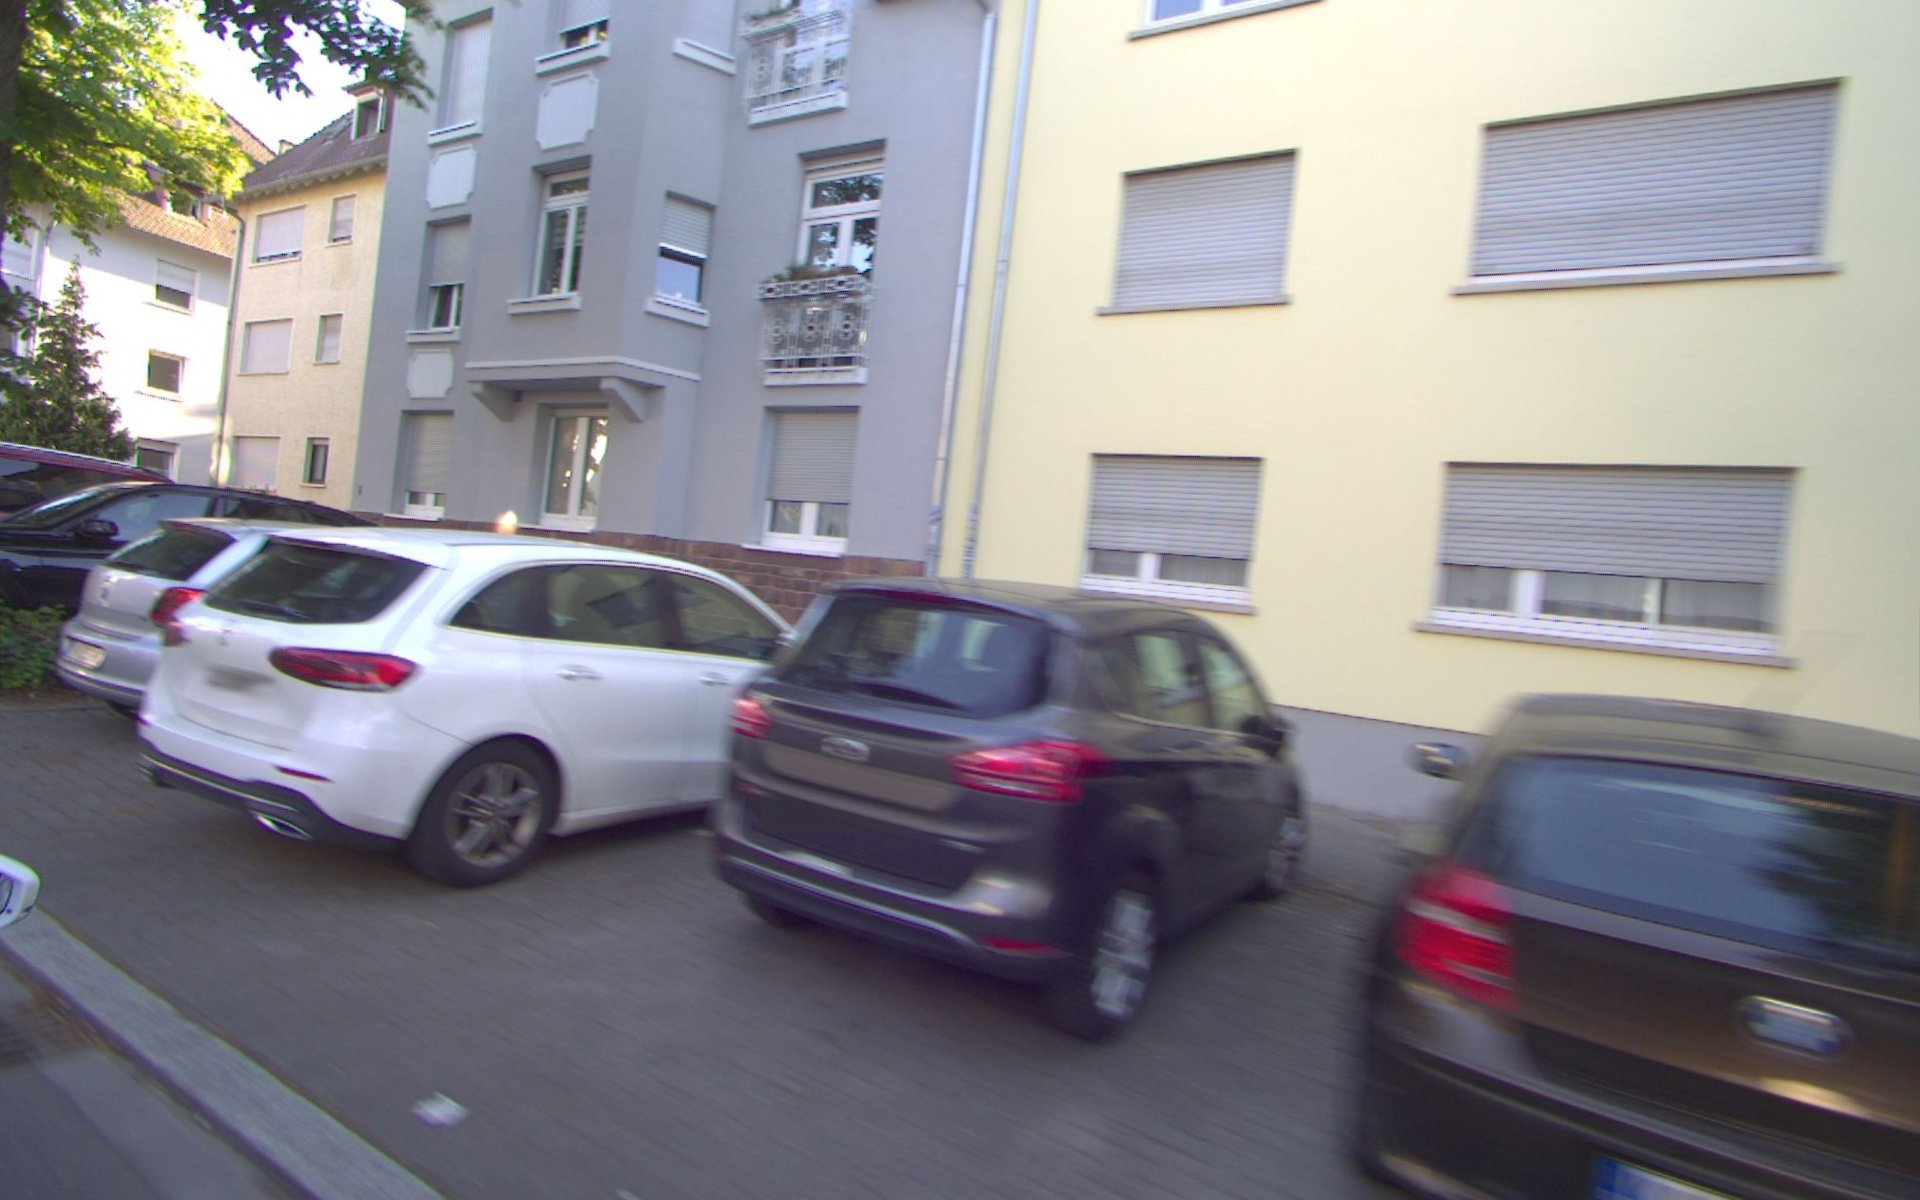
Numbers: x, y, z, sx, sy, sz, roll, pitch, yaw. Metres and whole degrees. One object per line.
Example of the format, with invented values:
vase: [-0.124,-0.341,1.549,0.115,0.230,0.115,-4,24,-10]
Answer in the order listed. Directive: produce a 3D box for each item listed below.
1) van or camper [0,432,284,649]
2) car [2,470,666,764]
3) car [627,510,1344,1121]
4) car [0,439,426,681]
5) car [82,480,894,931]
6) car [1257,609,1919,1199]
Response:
van or camper: [-10.286,-0.715,10.924,1.968,2.037,4.318,7,-1,34]
car: [-4.367,0.206,7.661,1.714,1.586,3.820,7,-2,30]
car: [0.485,0.703,4.813,1.697,1.674,3.551,6,0,33]
car: [-7.942,-0.340,9.530,1.921,1.858,4.634,7,-2,31]
car: [-2.184,0.460,5.665,1.696,1.577,3.736,6,-1,30]
car: [2.465,1.033,3.485,1.697,1.577,3.930,7,0,32]
